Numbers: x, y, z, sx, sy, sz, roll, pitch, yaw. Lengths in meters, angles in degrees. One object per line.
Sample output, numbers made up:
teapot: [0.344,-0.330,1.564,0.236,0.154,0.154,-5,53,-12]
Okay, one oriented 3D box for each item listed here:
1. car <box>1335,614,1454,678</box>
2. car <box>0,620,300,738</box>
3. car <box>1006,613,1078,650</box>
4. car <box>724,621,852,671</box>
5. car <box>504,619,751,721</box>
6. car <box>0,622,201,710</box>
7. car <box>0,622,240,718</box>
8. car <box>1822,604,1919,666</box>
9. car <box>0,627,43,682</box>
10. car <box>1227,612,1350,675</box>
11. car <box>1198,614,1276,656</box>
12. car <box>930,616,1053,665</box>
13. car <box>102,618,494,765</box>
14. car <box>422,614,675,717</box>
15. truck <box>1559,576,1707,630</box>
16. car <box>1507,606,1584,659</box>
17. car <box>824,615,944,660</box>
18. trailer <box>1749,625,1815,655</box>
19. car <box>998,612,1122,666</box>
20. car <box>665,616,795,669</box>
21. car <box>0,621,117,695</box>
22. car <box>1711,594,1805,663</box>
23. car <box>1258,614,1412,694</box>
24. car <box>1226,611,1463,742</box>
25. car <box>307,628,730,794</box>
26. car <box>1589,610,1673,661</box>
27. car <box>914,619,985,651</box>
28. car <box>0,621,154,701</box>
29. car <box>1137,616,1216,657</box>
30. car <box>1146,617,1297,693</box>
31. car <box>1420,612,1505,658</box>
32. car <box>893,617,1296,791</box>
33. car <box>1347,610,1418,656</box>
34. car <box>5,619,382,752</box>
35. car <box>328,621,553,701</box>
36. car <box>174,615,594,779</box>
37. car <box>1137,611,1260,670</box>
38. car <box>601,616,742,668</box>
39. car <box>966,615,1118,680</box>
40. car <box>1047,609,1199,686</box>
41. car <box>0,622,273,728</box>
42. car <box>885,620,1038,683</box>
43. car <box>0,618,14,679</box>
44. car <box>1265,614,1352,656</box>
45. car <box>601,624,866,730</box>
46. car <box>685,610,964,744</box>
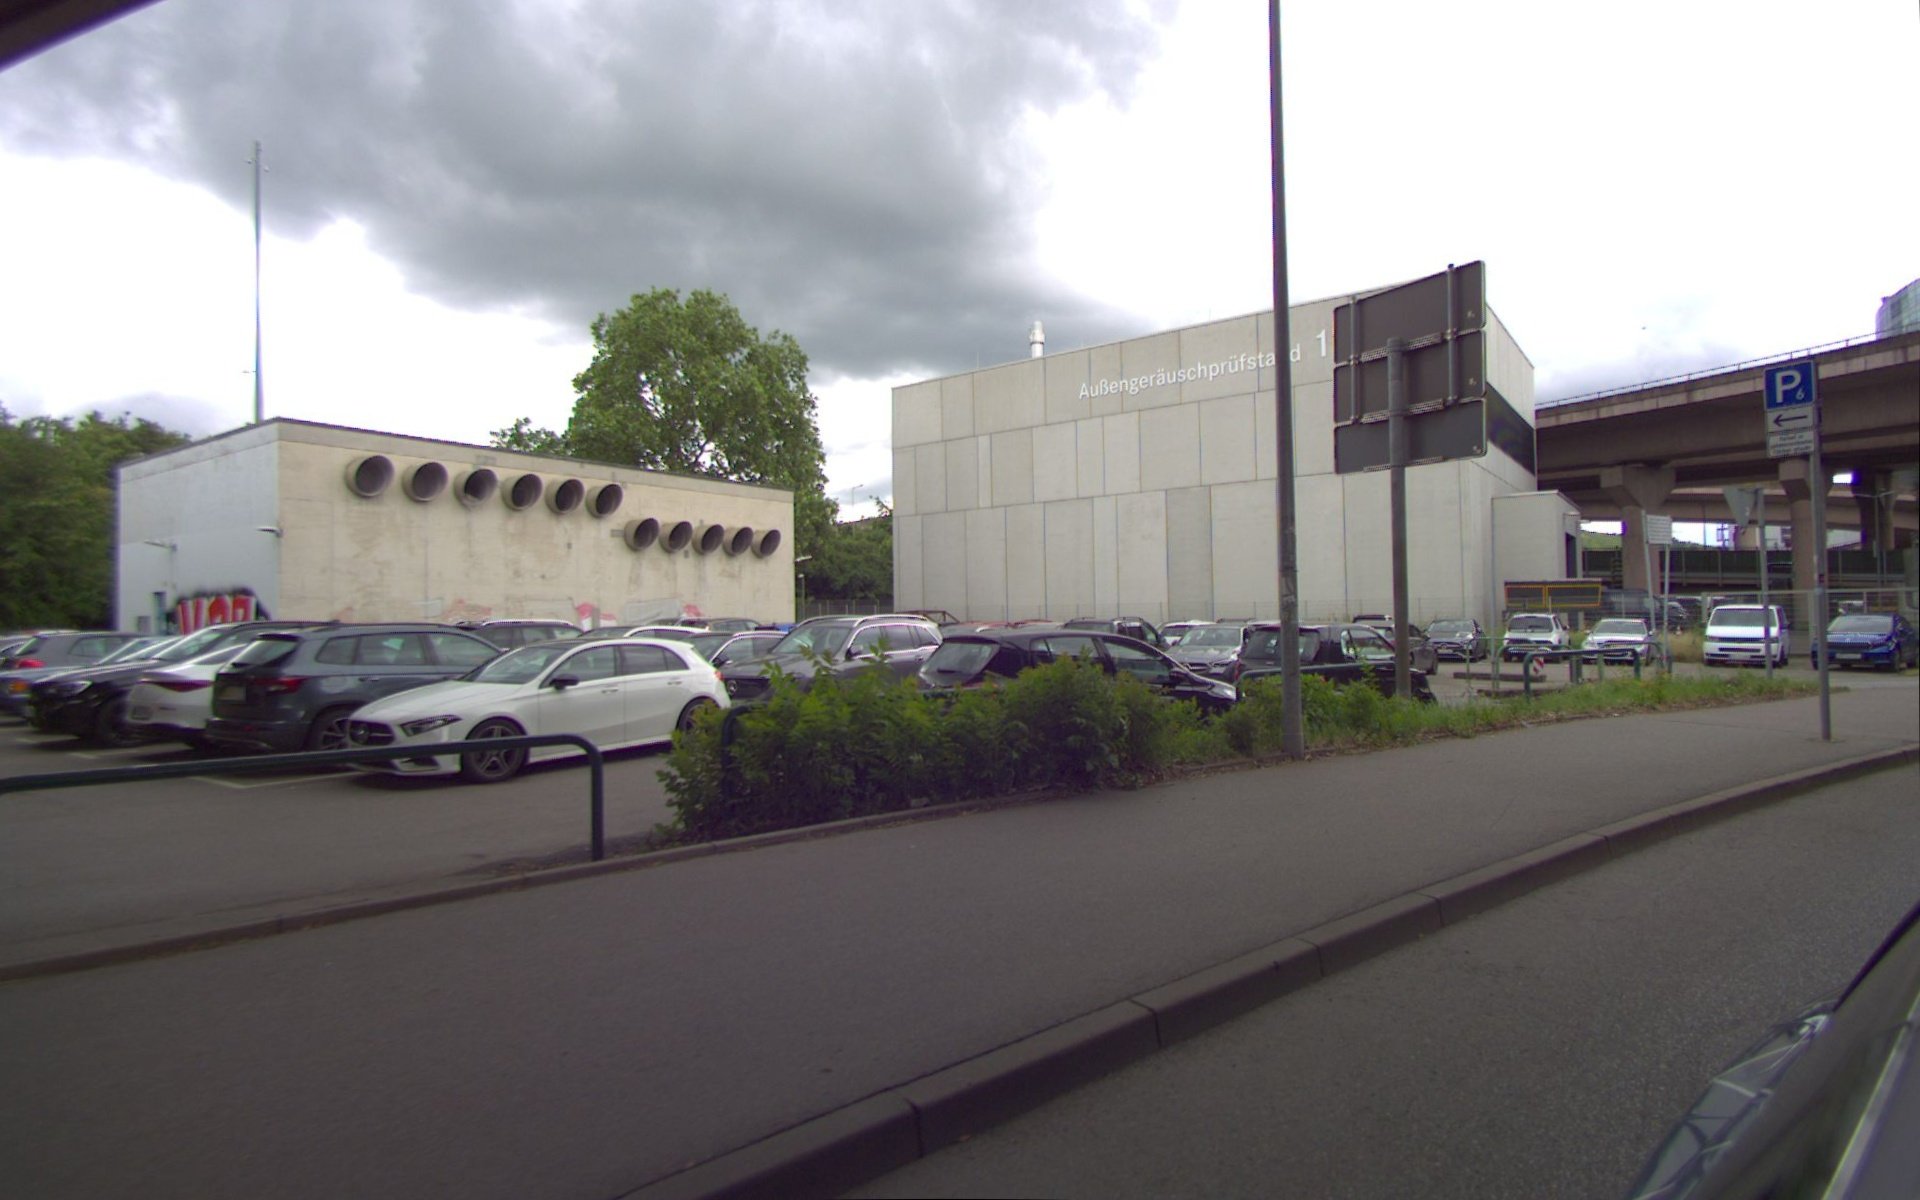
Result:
car: [11.214,1.111,25.958,1.828,1.443,4.382,-1,-1,37]
car: [-13.445,1.178,16.507,1.825,1.613,4.140,-1,-1,34]
car: [3.638,1.353,44.321,1.485,1.478,4.019,-1,0,32]
car: [-5.335,1.392,31.879,1.757,1.410,3.926,-1,-1,35]
car: [-5.878,1.161,18.308,1.744,1.577,4.037,-1,-1,34]
car: [-18.387,1.298,20.788,1.825,1.613,4.140,-1,-1,34]
car: [-16.631,1.263,19.502,1.825,1.613,4.140,-1,-1,34]
car: [26.755,0.953,29.296,4.598,1.655,1.774,0,-1,-37]
car: [-26.765,1.471,26.247,1.825,1.427,4.140,-1,-1,34]
car: [8.962,1.112,27.382,1.828,1.533,4.440,-1,-1,37]
car: [10.582,1.281,38.472,1.761,1.475,4.312,-1,0,32]
car: [1.097,1.260,33.036,1.828,1.443,4.382,-1,-1,37]
car: [-8.831,1.094,13.850,1.825,1.613,4.140,-1,-1,34]
car: [-7.878,1.167,19.757,1.744,1.713,4.377,-1,-1,34]
truck: [39.137,0.229,58.985,6.898,2.970,3.005,-1,-1,41]
car: [19.453,1.018,33.545,1.765,1.608,4.304,-1,0,36]
car: [-2.611,1.267,35.656,1.828,1.443,4.382,-1,-1,37]
trailer: [28.716,1.383,35.404,1.473,0.910,2.531,-1,1,33]
car: [3.199,1.171,31.597,1.828,1.533,4.440,-1,-1,37]
car: [-7.323,1.319,32.535,1.757,1.552,3.926,-1,-1,35]
car: [-22.326,1.337,23.336,1.825,1.613,4.140,-1,-1,34]
car: [24.824,0.812,31.409,1.887,1.982,4.607,-1,-1,43]
car: [8.124,1.066,21.683,1.847,1.494,4.624,-1,-1,37]
car: [5.029,0.916,13.223,2.706,1.498,1.545,-1,-1,-32]
car: [-4.816,1.090,11.602,1.825,1.439,4.140,-1,-1,34]
car: [21.492,1.082,32.342,1.767,1.475,4.489,-1,0,40]
car: [-0.437,1.626,47.755,1.485,1.355,4.001,-1,0,32]
car: [-20.311,1.296,21.932,1.825,1.613,4.140,-1,-1,34]
car: [8.694,1.396,40.369,1.761,1.475,4.312,-1,0,32]
car: [6.051,1.165,23.025,1.846,1.494,4.628,-1,-1,35]
car: [16.939,1.127,34.018,1.766,1.401,4.301,-1,0,38]
car: [1.527,0.970,10.974,4.166,1.498,1.736,-1,-1,-32]
car: [15.162,1.142,36.263,1.614,1.564,3.056,-1,-1,38]
car: [-11.170,1.131,15.049,1.825,1.613,4.140,-1,-1,34]
car: [-11.475,1.275,22.627,1.697,1.528,4.208,-1,-1,34]
car: [-6.842,1.017,12.450,1.825,1.613,4.140,-1,-1,34]
car: [6.930,1.098,29.133,1.828,1.533,4.440,-1,-1,37]
car: [-9.527,1.352,33.769,1.757,1.552,4.432,-1,-1,35]
car: [2.185,1.130,25.773,1.846,1.462,4.562,-1,-1,35]
car: [4.024,1.065,24.415,1.846,1.648,4.562,-1,-1,35]
car: [-14.900,1.232,17.946,1.825,1.613,4.140,-1,-1,34]
car: [0.142,1.314,27.061,1.846,1.462,4.562,-1,-1,35]
car: [-28.684,1.371,27.438,1.825,1.710,4.140,-1,-1,34]
car: [12.930,1.258,37.373,1.766,1.401,4.301,-1,0,38]
car: [-3.669,1.177,17.132,1.744,1.467,4.404,-1,-1,34]
car: [-1.877,1.024,15.374,1.733,1.696,4.415,-1,-1,34]
